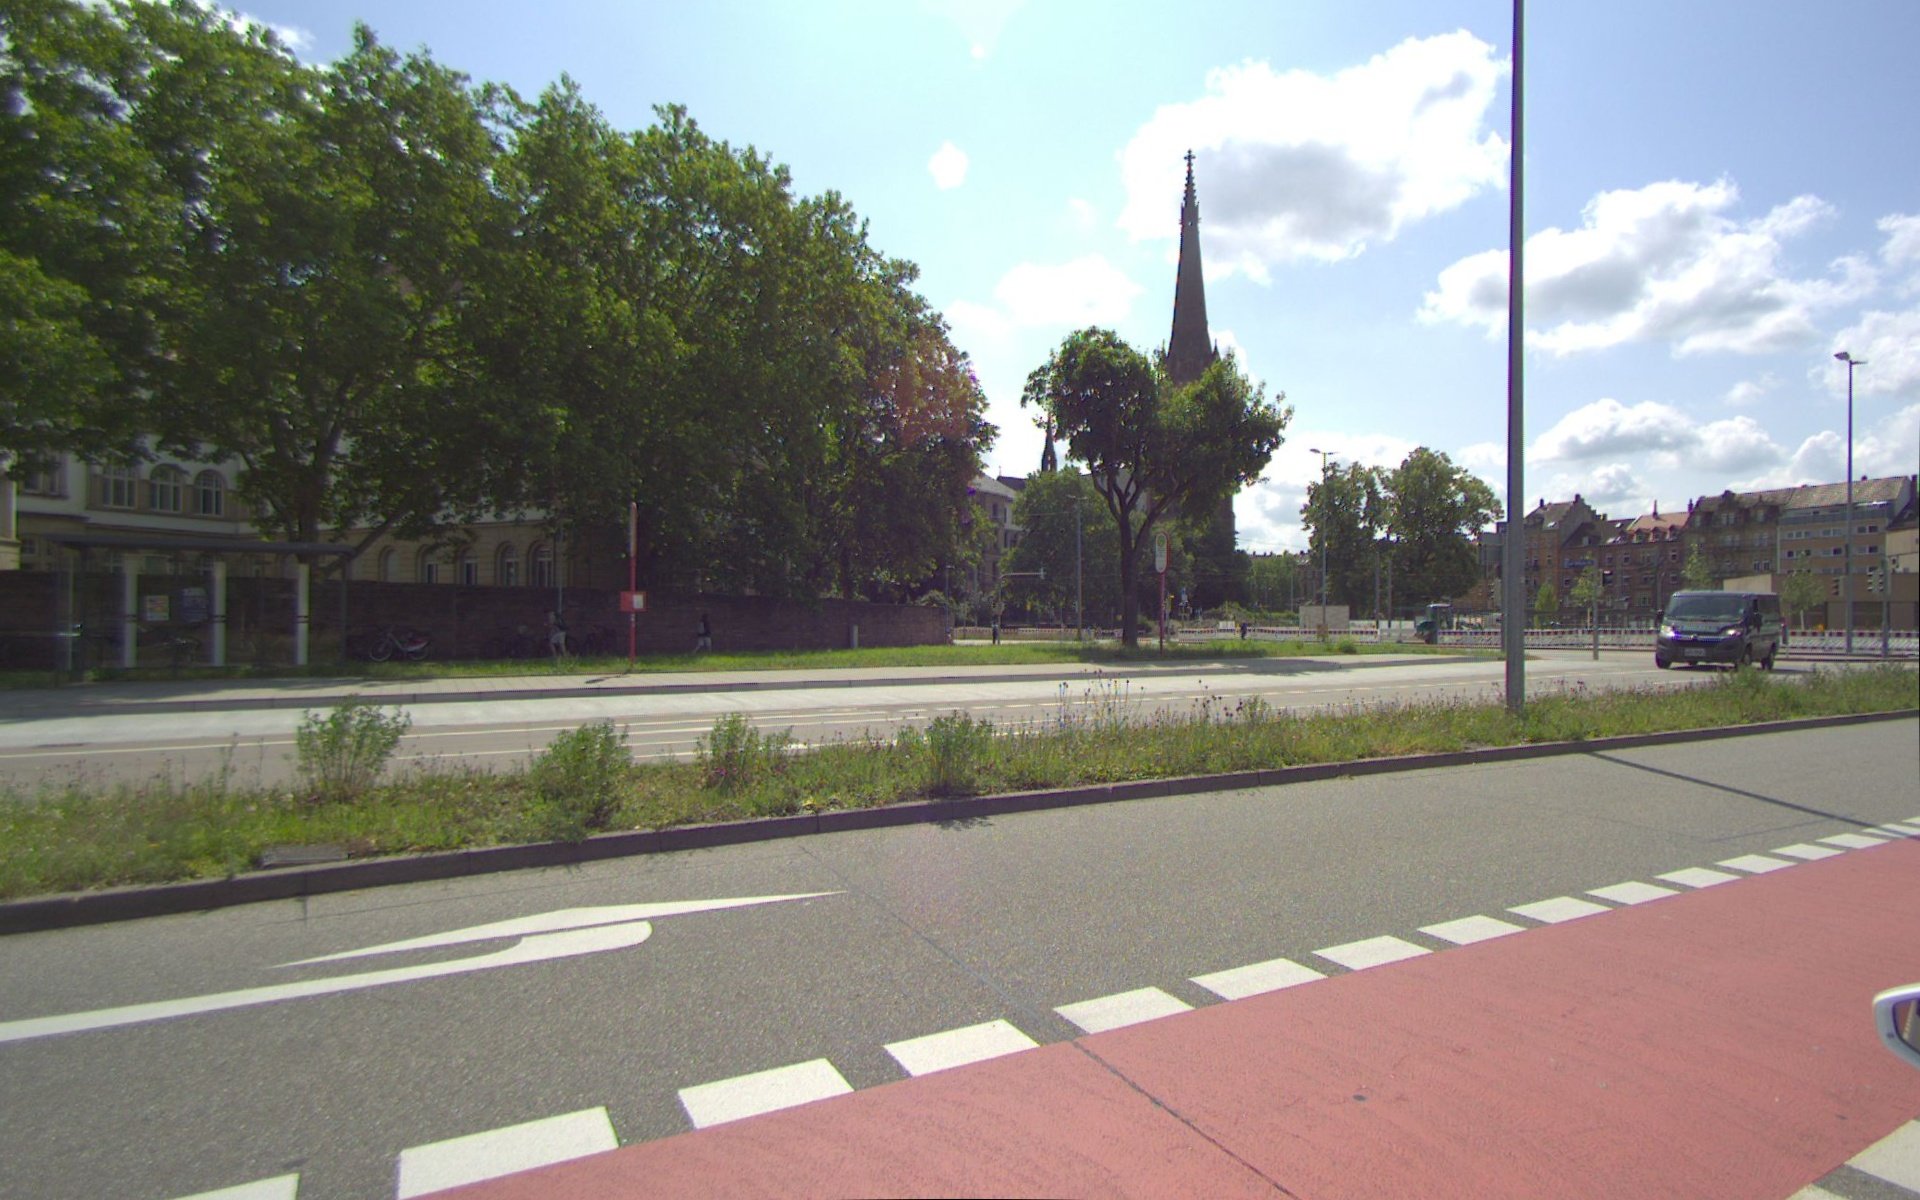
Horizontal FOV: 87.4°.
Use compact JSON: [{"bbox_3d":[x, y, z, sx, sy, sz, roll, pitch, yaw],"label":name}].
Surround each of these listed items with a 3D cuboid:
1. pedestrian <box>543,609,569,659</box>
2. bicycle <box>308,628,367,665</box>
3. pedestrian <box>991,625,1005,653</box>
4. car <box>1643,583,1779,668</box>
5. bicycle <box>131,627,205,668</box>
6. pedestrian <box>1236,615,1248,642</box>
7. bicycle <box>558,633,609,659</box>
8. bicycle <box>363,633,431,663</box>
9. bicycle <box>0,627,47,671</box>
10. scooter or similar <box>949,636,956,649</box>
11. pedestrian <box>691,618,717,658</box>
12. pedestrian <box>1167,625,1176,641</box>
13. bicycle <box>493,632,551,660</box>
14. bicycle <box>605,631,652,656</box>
[{"bbox_3d":[-12.034,1.005,29.910,0.627,1.492,0.506,1,-1,-32],"label":"pedestrian"},{"bbox_3d":[-17.155,1.265,27.717,0.260,0.977,1.391,0,-1,36],"label":"bicycle"},{"bbox_3d":[2.822,2.910,74.730,0.713,2.040,0.721,1,-1,-32],"label":"pedestrian"},{"bbox_3d":[21.488,0.764,28.663,4.981,2.204,2.129,2,-3,-42],"label":"car"},{"bbox_3d":[-19.412,1.157,24.647,0.260,0.977,1.391,0,-1,36],"label":"bicycle"},{"bbox_3d":[21.585,2.148,76.803,0.625,2.040,0.643,1,-1,-32],"label":"pedestrian"},{"bbox_3d":[-12.775,1.551,34.156,0.324,0.828,1.743,0,-1,36],"label":"bicycle"},{"bbox_3d":[-16.235,1.379,29.014,0.324,0.828,1.743,0,-1,36],"label":"bicycle"},{"bbox_3d":[-21.252,1.090,22.326,0.260,0.977,1.391,0,-1,36],"label":"bicycle"},{"bbox_3d":[-0.433,2.478,58.985,0.117,0.721,1.005,0,-1,17],"label":"scooter or similar"},{"bbox_3d":[-9.282,1.377,36.402,0.720,1.413,0.714,1,-1,-35],"label":"pedestrian"},{"bbox_3d":[22.994,3.595,109.116,0.842,1.685,0.751,0,-1,29],"label":"pedestrian"},{"bbox_3d":[-14.023,1.462,32.207,0.378,0.828,1.743,0,-1,36],"label":"bicycle"},{"bbox_3d":[-11.771,1.531,35.683,0.324,0.828,1.743,0,-1,36],"label":"bicycle"}]
